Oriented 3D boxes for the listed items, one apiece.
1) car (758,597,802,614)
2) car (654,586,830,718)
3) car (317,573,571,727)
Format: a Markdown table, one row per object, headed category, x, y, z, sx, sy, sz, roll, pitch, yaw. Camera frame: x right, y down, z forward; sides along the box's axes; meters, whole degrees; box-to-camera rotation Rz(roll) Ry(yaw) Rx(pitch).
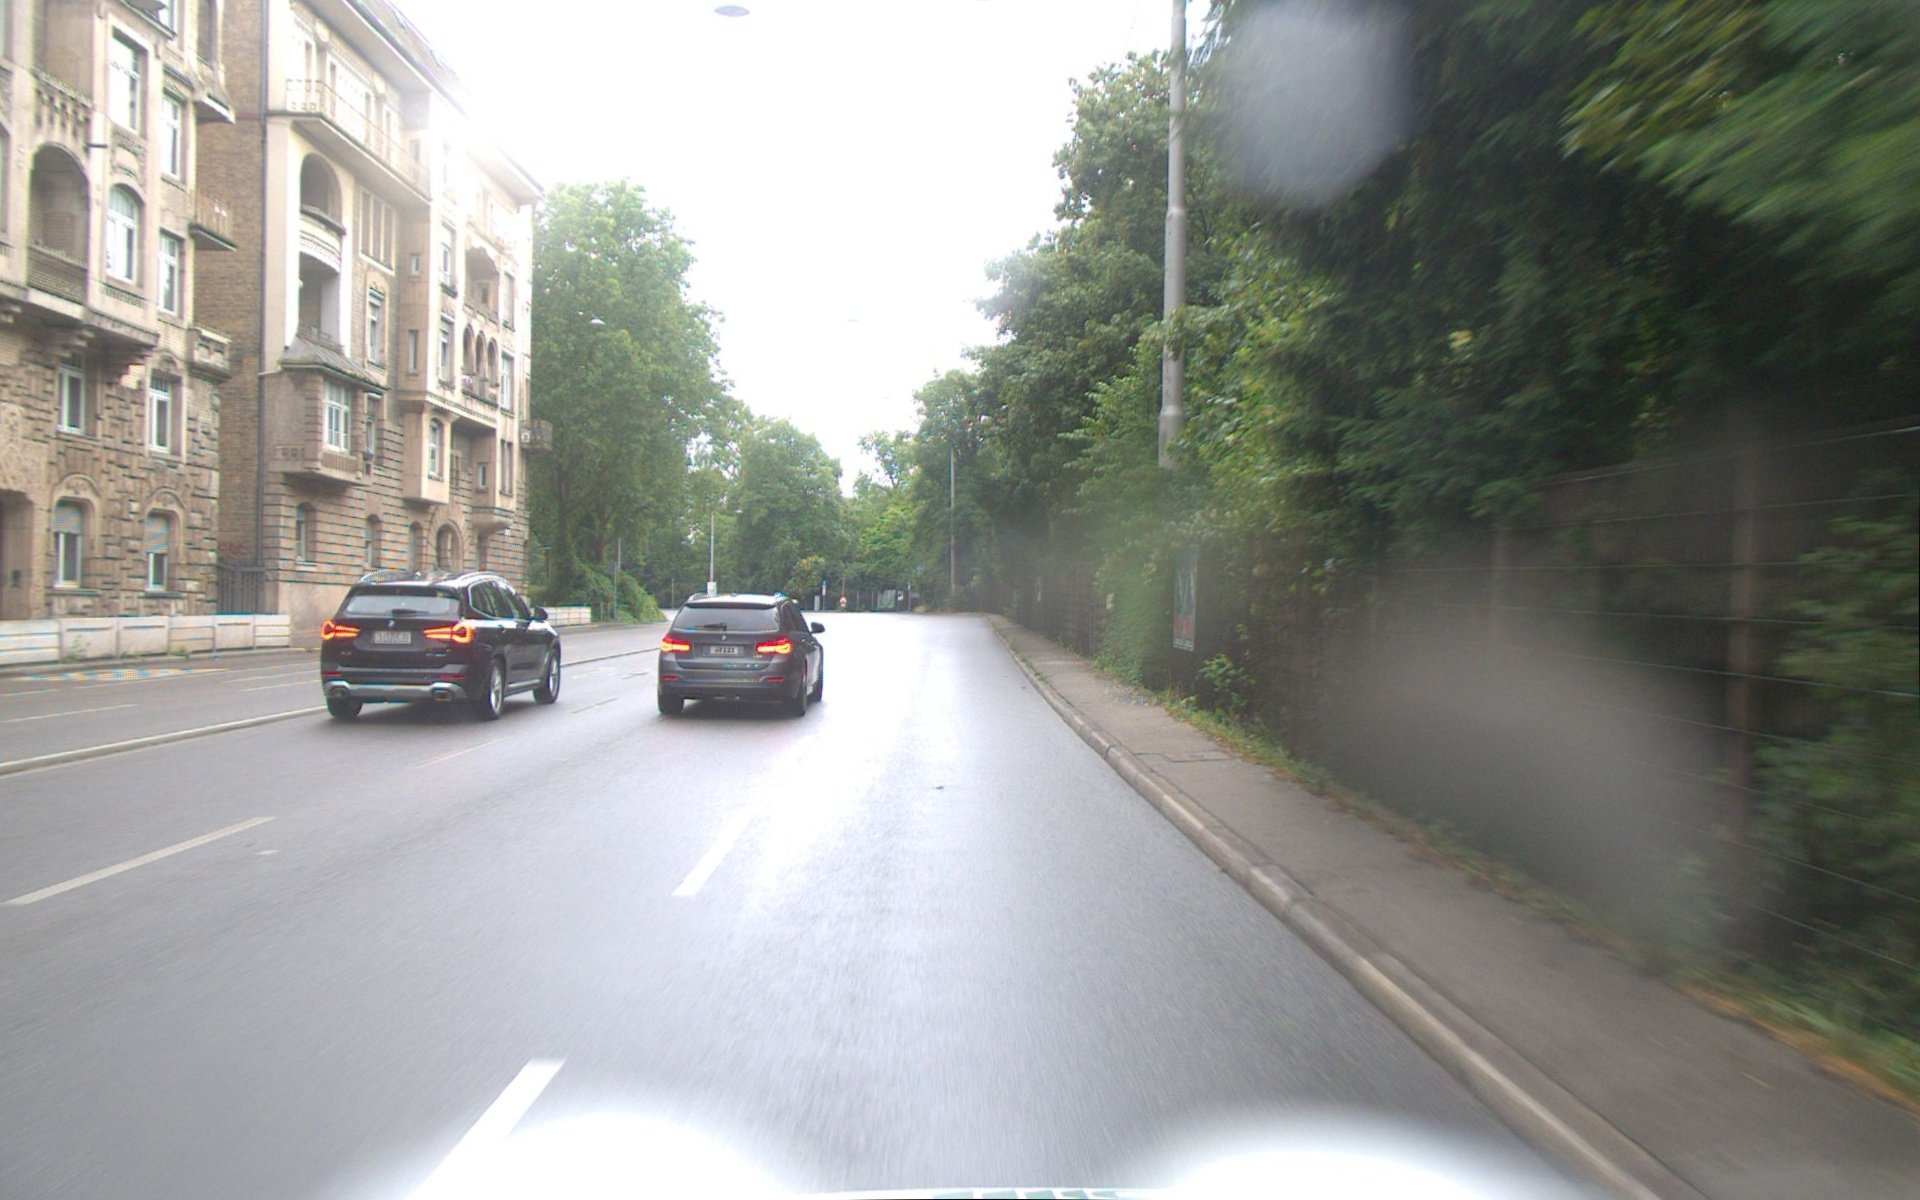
| category | x | y | z | sx | sy | sz | roll | pitch | yaw |
| --- | --- | --- | --- | --- | --- | --- | --- | --- | --- |
| car | -16.847 | 0.552 | 154.549 | 4.295 | 1.451 | 1.682 | 0 | -3 | 43 |
| car | -2.683 | 0.599 | 21.262 | 1.722 | 1.457 | 4.411 | 2 | 0 | -1 |
| car | -6.023 | 0.531 | 19.855 | 1.722 | 1.613 | 4.411 | 1 | 0 | -1 |
